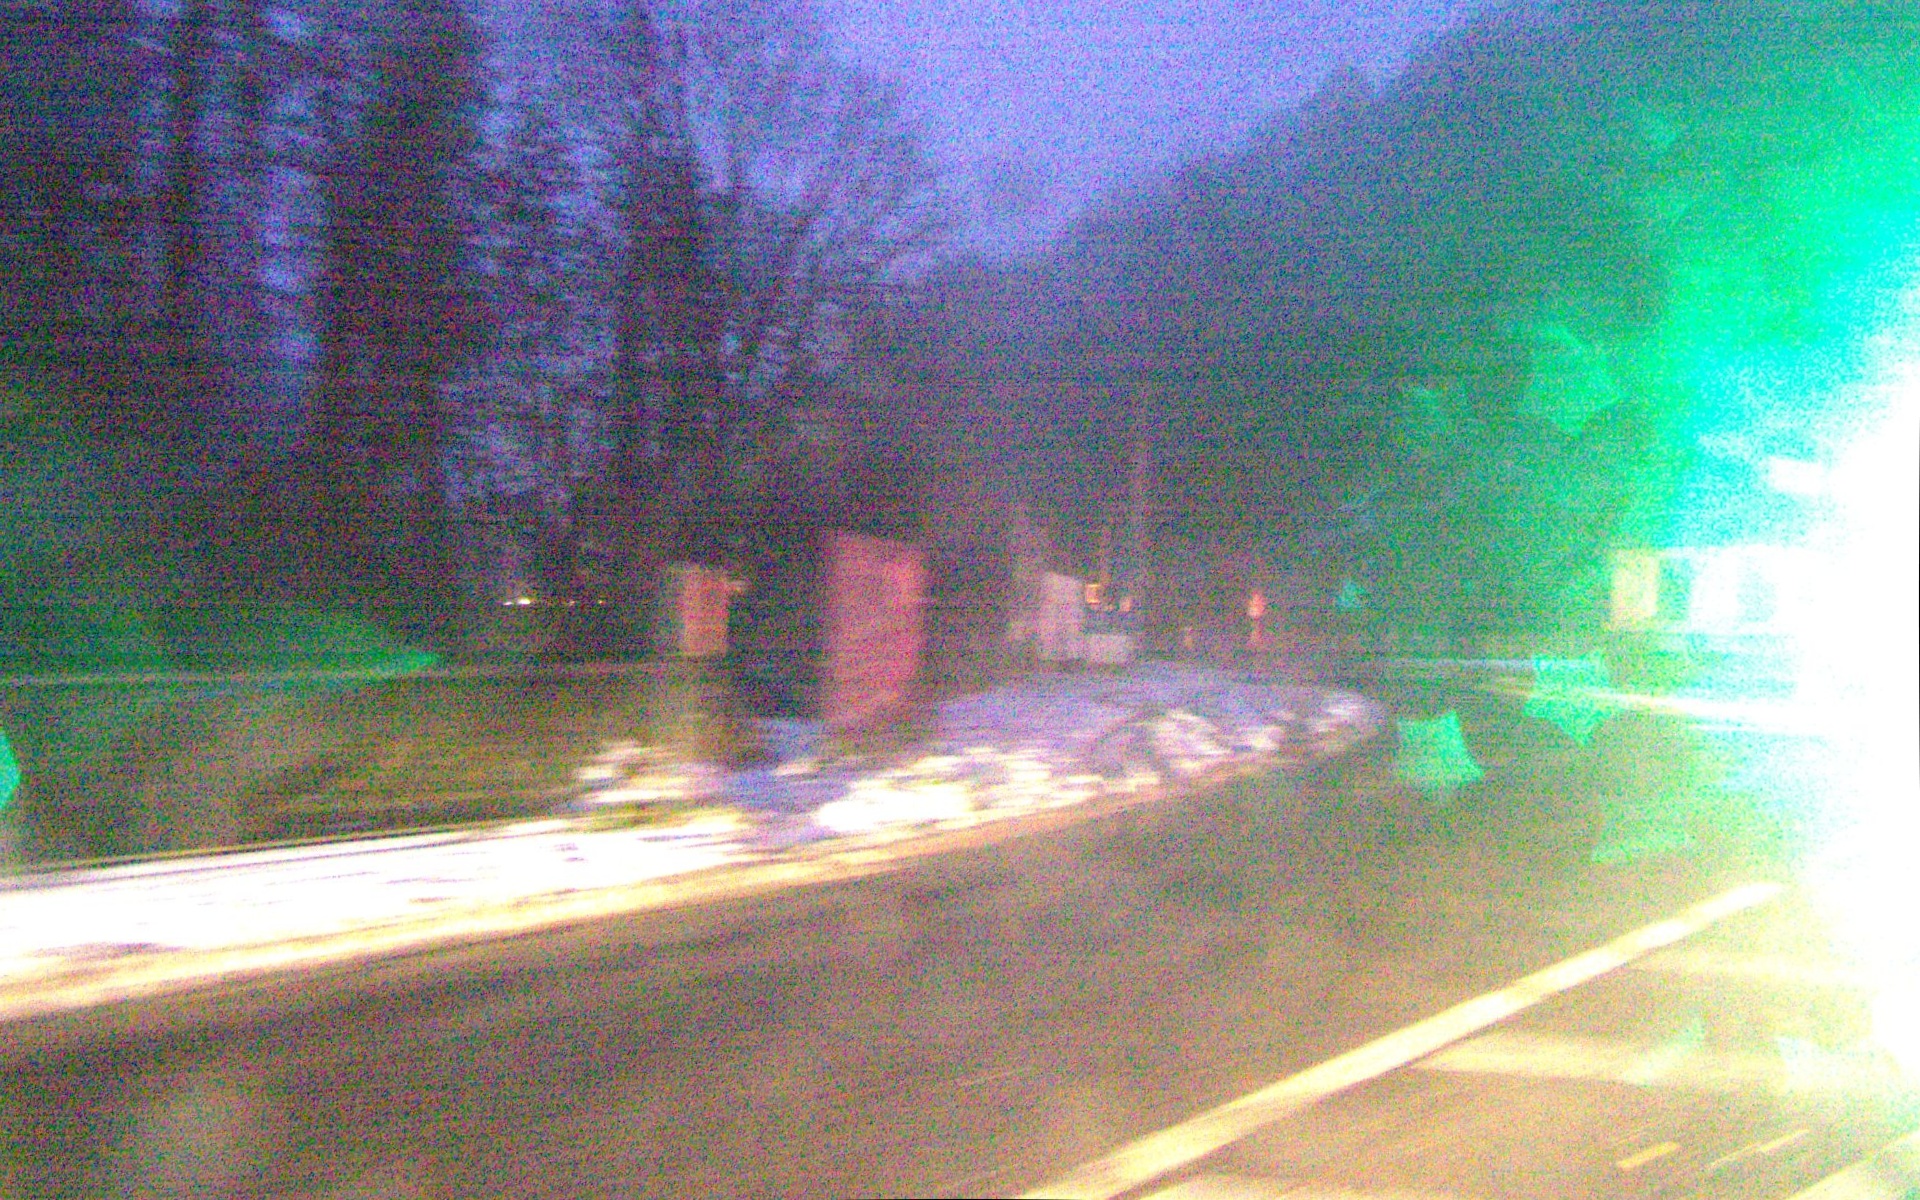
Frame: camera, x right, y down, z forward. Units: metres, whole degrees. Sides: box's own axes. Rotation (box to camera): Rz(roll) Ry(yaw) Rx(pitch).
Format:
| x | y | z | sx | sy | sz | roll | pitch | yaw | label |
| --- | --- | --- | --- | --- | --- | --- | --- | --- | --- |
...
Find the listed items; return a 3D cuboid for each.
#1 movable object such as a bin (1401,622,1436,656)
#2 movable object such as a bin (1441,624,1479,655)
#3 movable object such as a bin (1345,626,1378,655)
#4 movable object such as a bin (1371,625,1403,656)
| x | y | z | sx | sy | sz | roll | pitch | yaw | label |
| --- | --- | --- | --- | --- | --- | --- | --- | --- | --- |
| 20.902 | 1.759 | 45.755 | 1.366 | 1.432 | 1.249 | 2 | 0 | 28 | movable object such as a bin |
| 22.326 | 1.760 | 44.823 | 1.297 | 1.316 | 1.247 | 1 | 0 | 36 | movable object such as a bin |
| 19.002 | 1.907 | 47.523 | 1.299 | 1.326 | 1.174 | 0 | 1 | 29 | movable object such as a bin |
| 19.753 | 1.863 | 46.460 | 1.211 | 1.343 | 1.151 | 1 | 0 | 31 | movable object such as a bin |
